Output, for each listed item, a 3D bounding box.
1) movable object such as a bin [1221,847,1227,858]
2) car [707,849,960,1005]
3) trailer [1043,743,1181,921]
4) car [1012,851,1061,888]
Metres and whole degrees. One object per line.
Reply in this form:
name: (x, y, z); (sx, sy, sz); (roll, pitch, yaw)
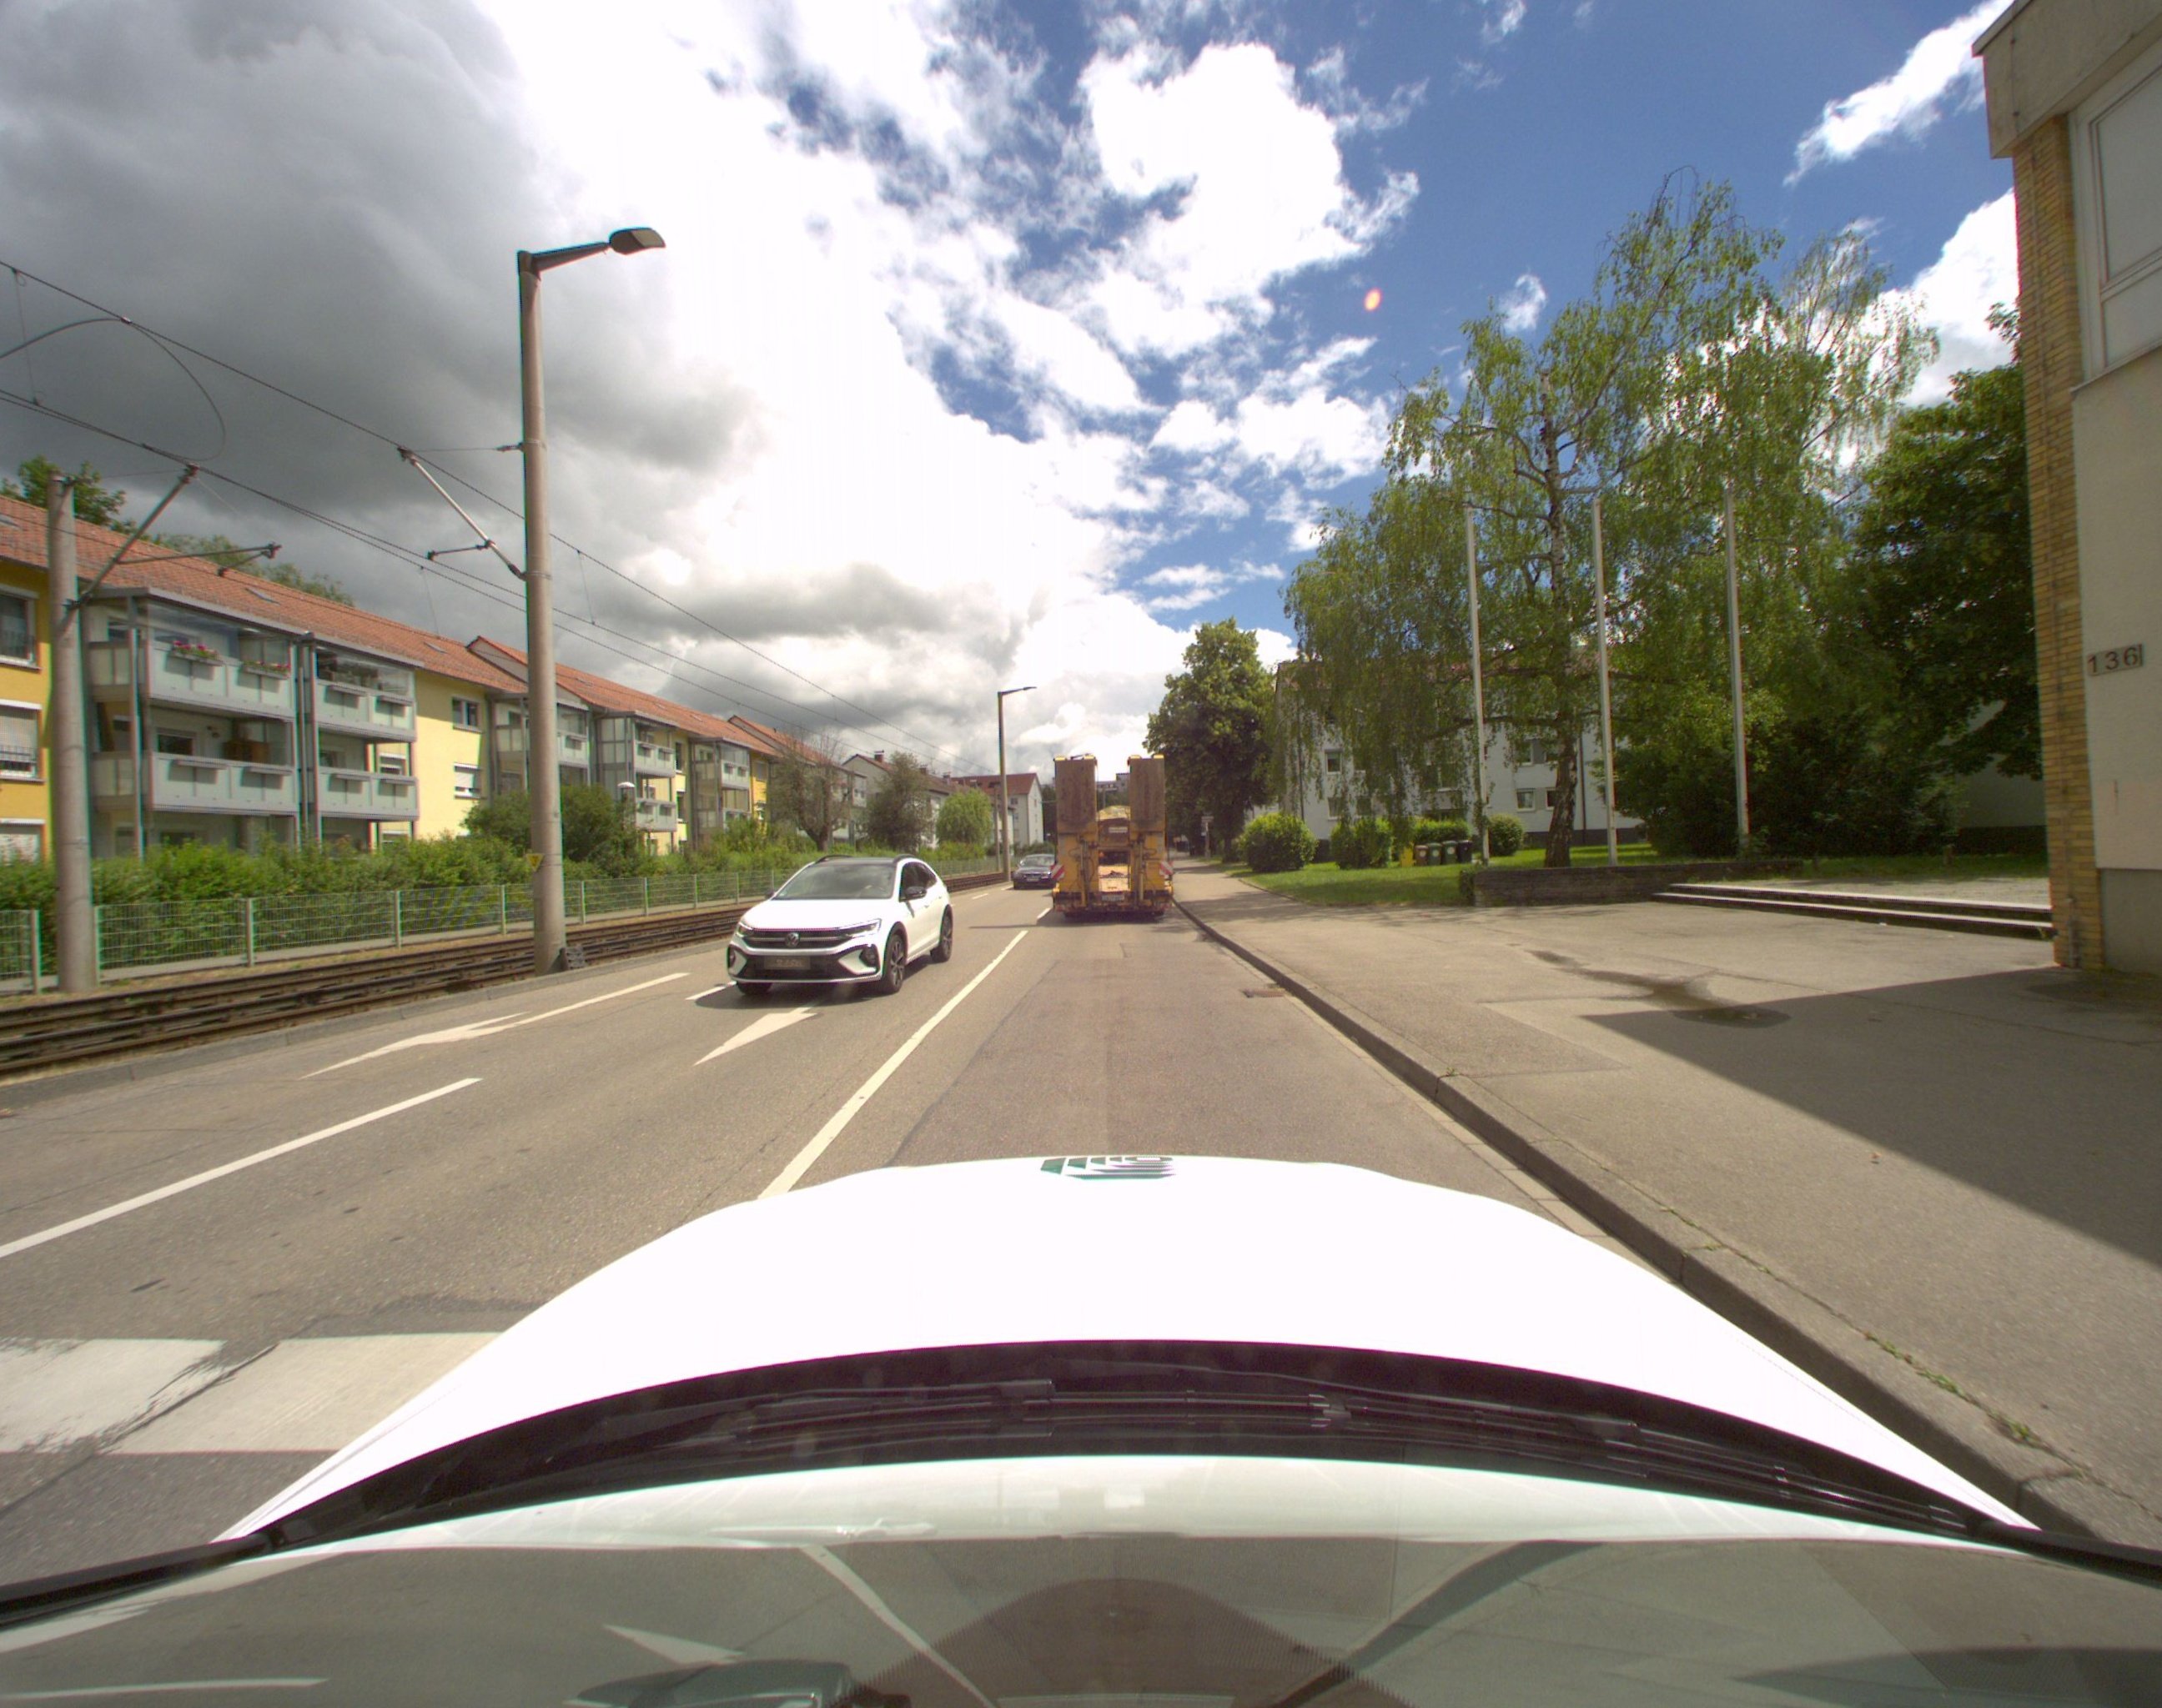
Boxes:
movable object such as a bin: (13.509, -0.144, 76.809); (0.493, 0.955, 0.581); (-3, 0, 6)
car: (-2.814, 0.730, 10.255); (1.753, 1.552, 4.003); (-1, 0, 3)
trailer: (0.835, -0.481, 23.023); (2.816, 3.646, 12.359); (-1, 0, 2)
car: (-1.809, 0.620, 34.454); (1.622, 1.432, 4.170); (-1, 0, 3)
